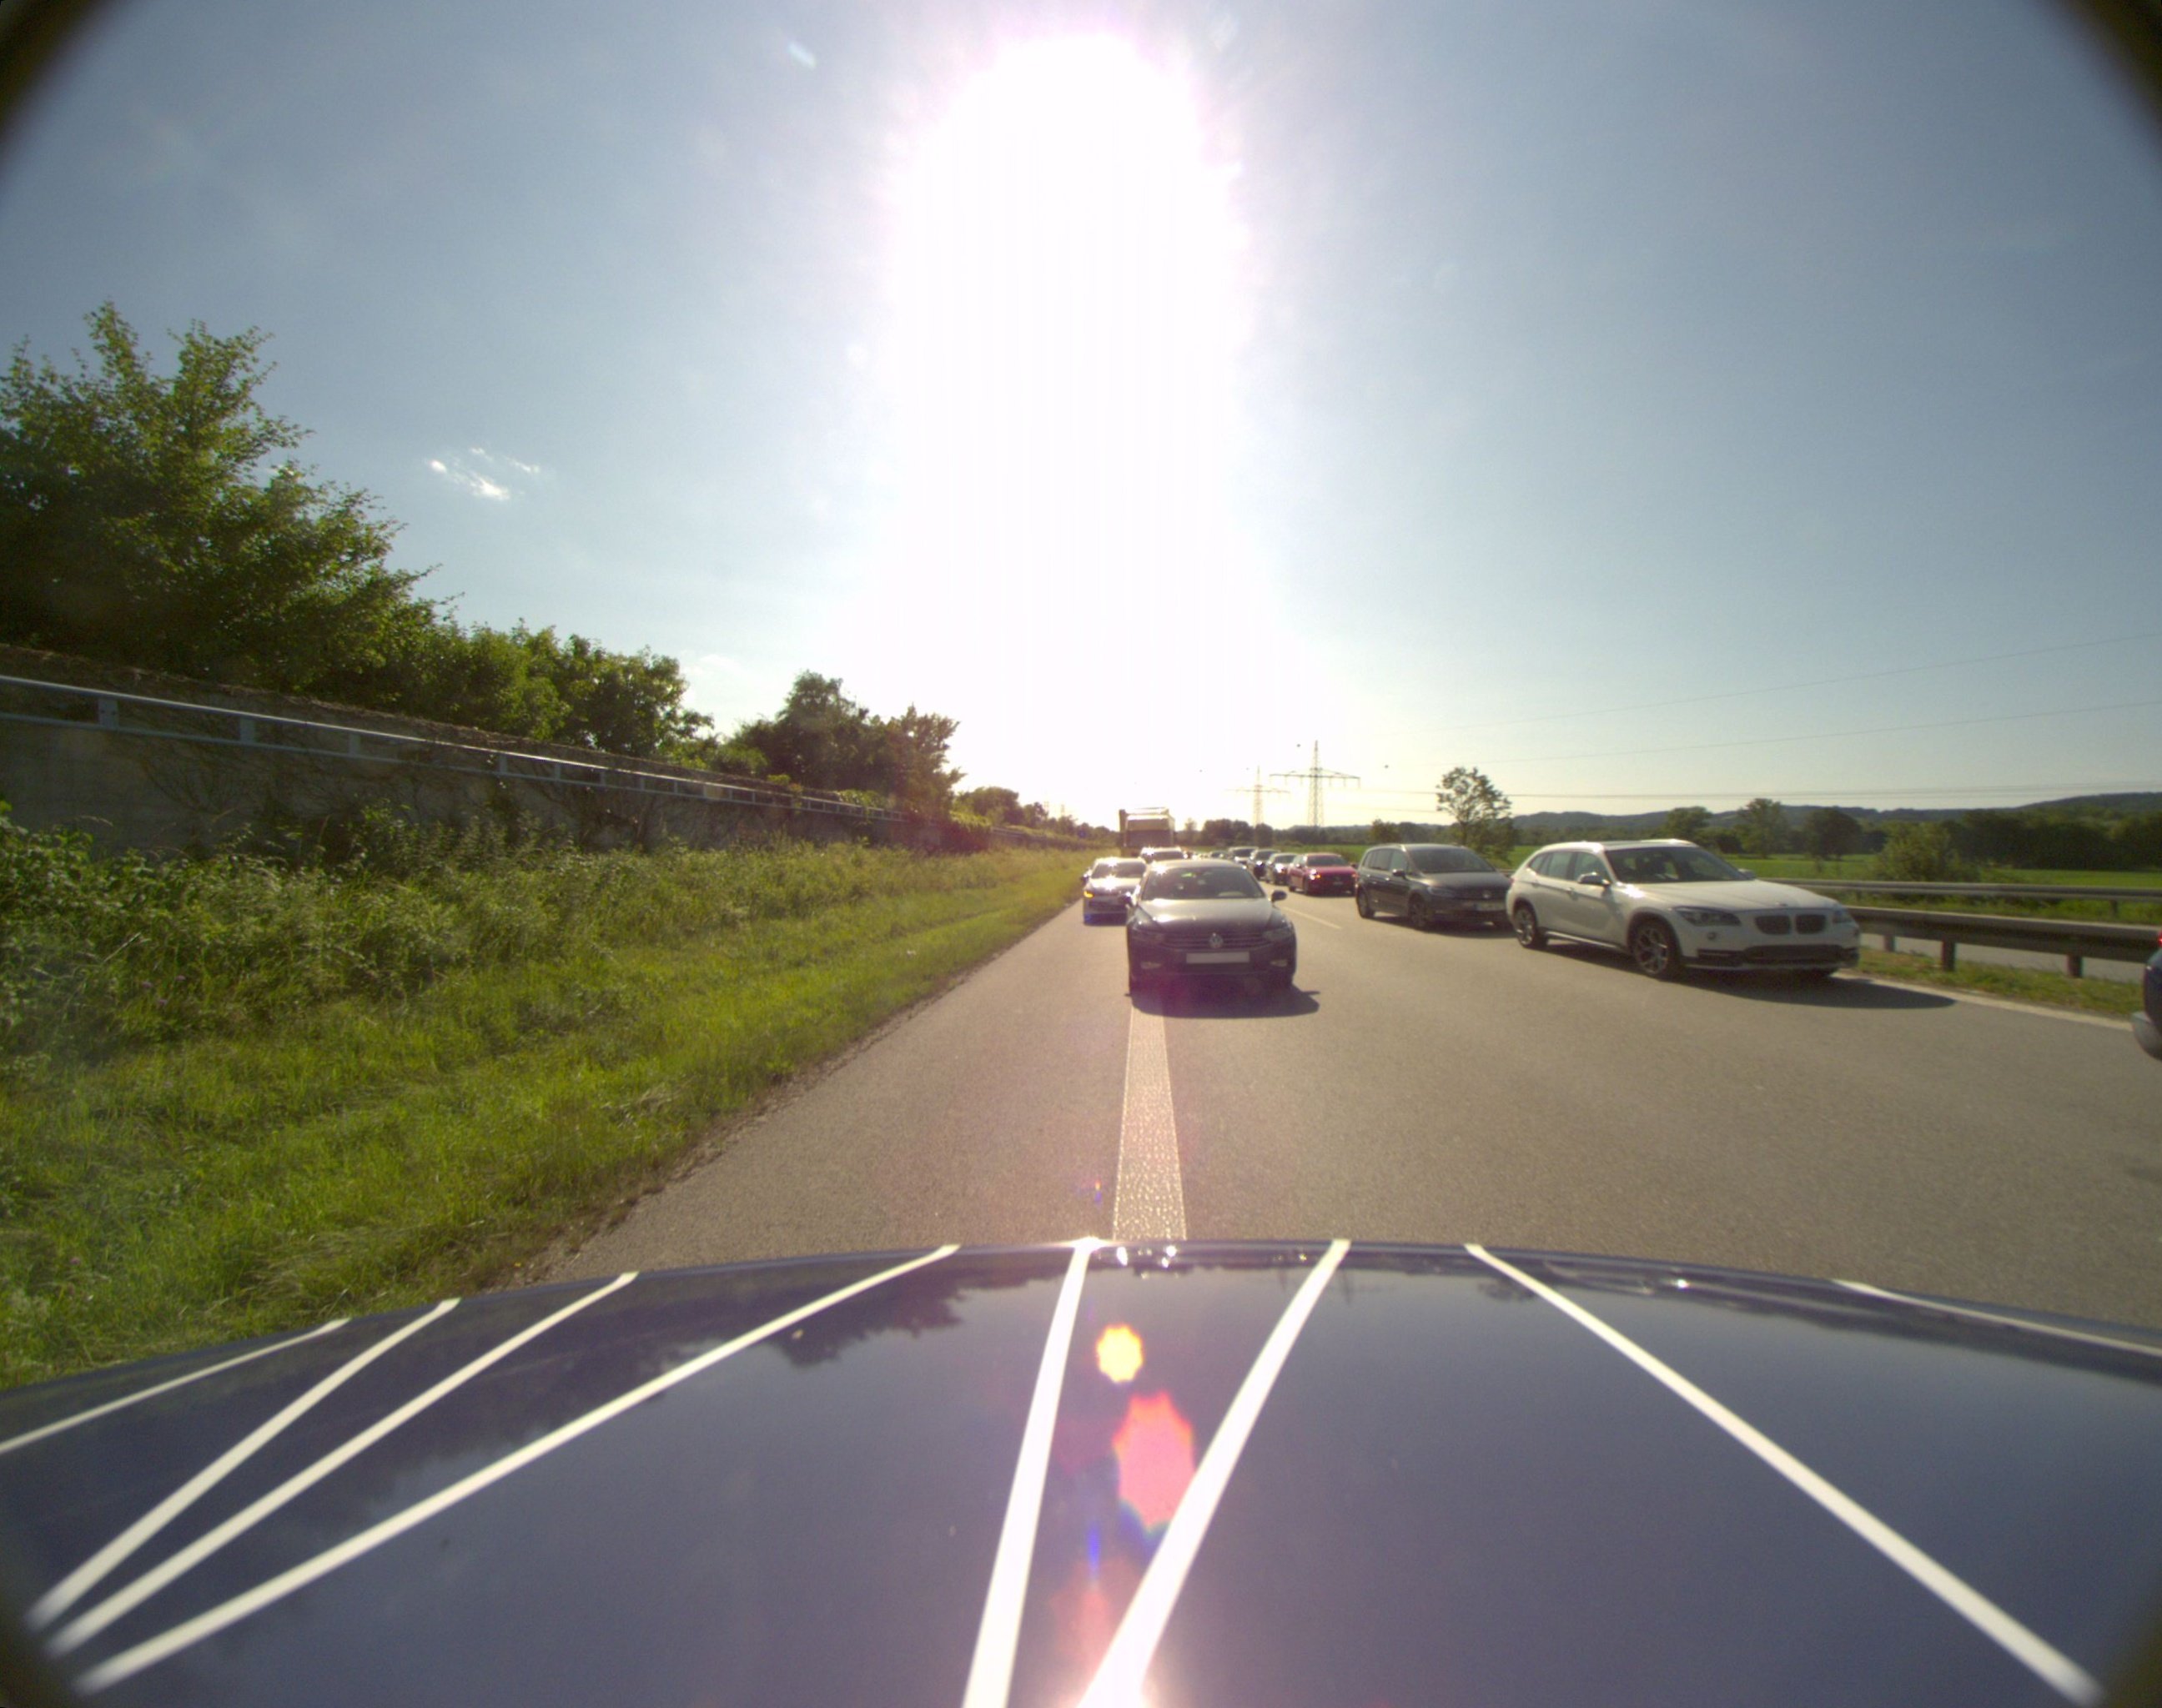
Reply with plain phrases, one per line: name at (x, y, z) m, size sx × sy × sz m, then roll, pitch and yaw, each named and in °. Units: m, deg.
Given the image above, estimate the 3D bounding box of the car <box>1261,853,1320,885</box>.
car at (9.695, 0.656, 35.419) m, size 1.894 × 1.390 × 4.001 m, roll 0°, pitch 0°, yaw 4°

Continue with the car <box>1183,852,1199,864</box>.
car at (13.834, 0.454, 95.510) m, size 1.819 × 1.450 × 4.119 m, roll 0°, pitch 0°, yaw 5°

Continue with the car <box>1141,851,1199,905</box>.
car at (2.900, 0.728, 25.320) m, size 1.716 × 1.614 × 4.327 m, roll -2°, pitch 0°, yaw 5°

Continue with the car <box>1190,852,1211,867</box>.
car at (12.272, 0.513, 78.286) m, size 1.819 × 1.450 × 4.119 m, roll -2°, pitch 0°, yaw 6°

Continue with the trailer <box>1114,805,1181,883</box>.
trailer at (4.487, -0.639, 48.208) m, size 3.386 × 4.089 × 13.959 m, roll -2°, pitch 1°, yaw 8°

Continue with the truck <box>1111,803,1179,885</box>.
truck at (3.631, -0.546, 42.156) m, size 3.332 × 4.089 × 6.972 m, roll -2°, pitch 1°, yaw 6°

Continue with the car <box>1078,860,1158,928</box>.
car at (0.990, 0.904, 18.982) m, size 1.716 × 1.417 × 4.327 m, roll -2°, pitch 0°, yaw 5°

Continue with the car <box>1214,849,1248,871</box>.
car at (10.922, 0.429, 55.521) m, size 1.998 × 1.522 × 4.001 m, roll 0°, pitch 0°, yaw 4°

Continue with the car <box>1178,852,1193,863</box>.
car at (14.289, 0.486, 103.929) m, size 1.819 × 1.450 × 4.118 m, roll -2°, pitch 0°, yaw 4°

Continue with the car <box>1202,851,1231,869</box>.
car at (11.484, 0.470, 64.801) m, size 1.998 × 1.522 × 4.001 m, roll 0°, pitch 0°, yaw 4°

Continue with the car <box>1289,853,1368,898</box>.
car at (8.602, 0.697, 26.771) m, size 1.819 × 1.450 × 4.119 m, roll 0°, pitch 0°, yaw 6°

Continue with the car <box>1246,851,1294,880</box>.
car at (10.254, 0.594, 41.486) m, size 1.893 × 1.446 × 4.001 m, roll 0°, pitch 0°, yaw 5°

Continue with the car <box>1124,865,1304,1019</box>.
car at (1.485, 0.908, 9.662) m, size 1.716 × 1.405 × 4.327 m, roll -2°, pitch 0°, yaw 5°

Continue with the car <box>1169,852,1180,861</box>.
car at (15.925, 0.458, 129.907) m, size 1.819 × 1.450 × 4.119 m, roll 0°, pitch 0°, yaw 6°

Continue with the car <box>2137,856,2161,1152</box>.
car at (6.370, 0.756, 2.004) m, size 1.692 × 1.526 × 3.949 m, roll -2°, pitch 0°, yaw 1°

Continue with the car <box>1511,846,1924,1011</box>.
car at (7.234, 0.707, 9.334) m, size 1.831 × 1.564 × 4.165 m, roll -1°, pitch 0°, yaw 5°

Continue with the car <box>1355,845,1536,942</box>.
car at (6.998, 0.670, 15.107) m, size 1.819 × 1.606 × 4.118 m, roll -2°, pitch 0°, yaw 4°

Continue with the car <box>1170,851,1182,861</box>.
car at (15.496, 0.306, 124.274) m, size 1.819 × 1.450 × 4.119 m, roll -2°, pitch 0°, yaw 6°

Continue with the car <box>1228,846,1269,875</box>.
car at (10.607, 0.398, 48.349) m, size 1.901 × 1.777 × 4.201 m, roll 0°, pitch 0°, yaw 4°

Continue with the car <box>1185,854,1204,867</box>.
car at (12.689, 0.704, 84.869) m, size 1.819 × 1.450 × 4.118 m, roll 0°, pitch 0°, yaw 4°
